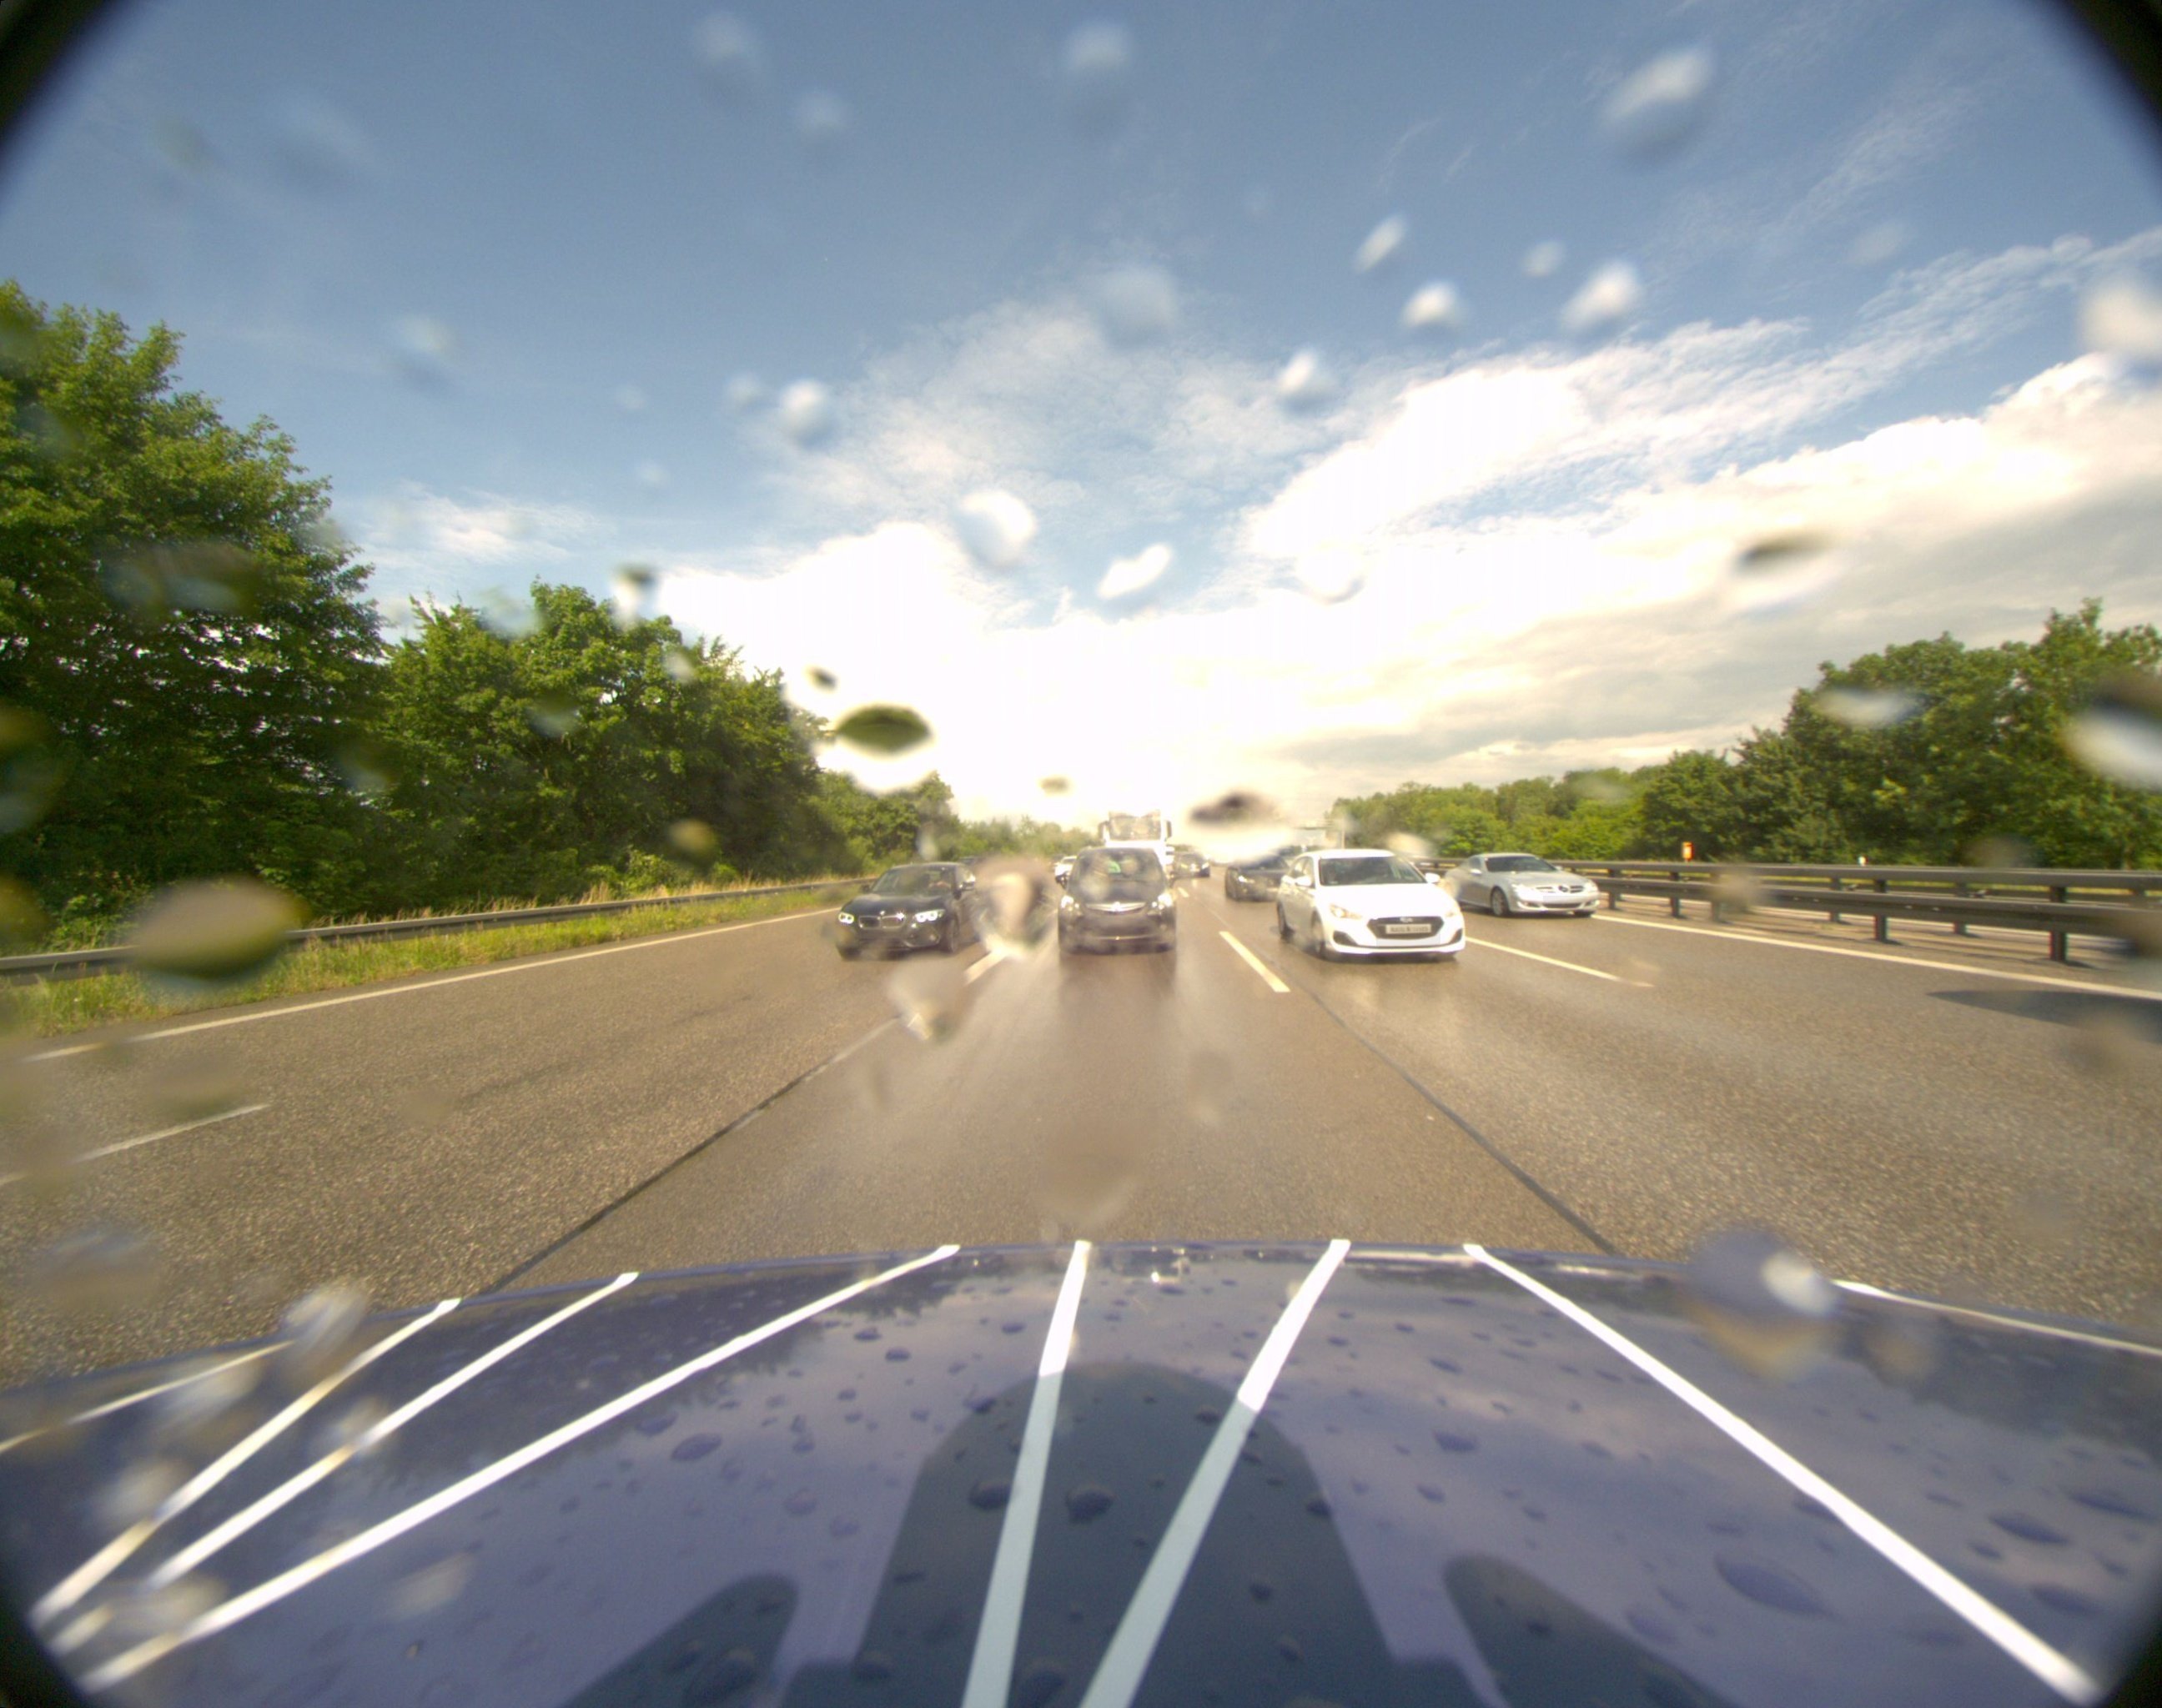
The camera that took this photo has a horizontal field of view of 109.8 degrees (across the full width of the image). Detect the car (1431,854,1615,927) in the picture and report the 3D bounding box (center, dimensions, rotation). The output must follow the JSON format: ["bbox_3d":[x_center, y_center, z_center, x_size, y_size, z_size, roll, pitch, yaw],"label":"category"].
[{"bbox_3d":[9.100,0.683,16.070,1.728,1.270,4.064,-2,0,4],"label":"car"}]

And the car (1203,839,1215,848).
[{"bbox_3d":[26.159,-2.170,155.363,1.998,1.768,4.462,-2,0,4],"label":"car"}]

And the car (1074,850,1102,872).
[{"bbox_3d":[0.623,0.536,61.487,1.998,1.572,4.654,-2,0,4],"label":"car"}]

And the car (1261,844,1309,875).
[{"bbox_3d":[11.489,0.259,43.063,1.874,1.597,4.229,-2,1,5],"label":"car"}]

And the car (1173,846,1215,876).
[{"bbox_3d":[6.530,0.375,44.192,1.998,1.478,4.000,-3,1,4],"label":"car"}]

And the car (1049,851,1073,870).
[{"bbox_3d":[-1.801,0.533,70.147,1.824,1.611,4.364,-2,0,3],"label":"car"}]

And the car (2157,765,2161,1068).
[{"bbox_3d":[7.959,0.414,2.348,1.998,2.002,5.270,-1,0,4],"label":"car"}]

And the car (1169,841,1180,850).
[{"bbox_3d":[18.932,-1.811,153.668,1.998,1.687,4.000,-3,1,4],"label":"car"}]

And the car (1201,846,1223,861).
[{"bbox_3d":[14.747,-0.107,85.510,1.998,1.471,4.000,-3,1,4],"label":"car"}]

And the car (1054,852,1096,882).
[{"bbox_3d":[-0.259,0.687,42.177,1.830,1.417,4.512,-2,1,5],"label":"car"}]

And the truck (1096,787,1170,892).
[{"bbox_3d":[2.443,-0.624,34.245,2.816,4.083,7.447,-2,1,6],"label":"truck"}]

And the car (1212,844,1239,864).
[{"bbox_3d":[13.828,-0.045,73.134,1.998,1.739,4.000,-3,1,4],"label":"car"}]

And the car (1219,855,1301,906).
[{"bbox_3d":[5.337,0.727,23.126,1.728,1.330,4.288,-2,0,4],"label":"car"}]

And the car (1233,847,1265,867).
[{"bbox_3d":[12.664,0.183,57.479,1.771,1.371,4.000,-1,1,4],"label":"car"}]

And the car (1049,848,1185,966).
[{"bbox_3d":[0.656,0.740,12.980,1.883,1.638,4.397,-1,0,4],"label":"car"}]

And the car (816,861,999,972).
[{"bbox_3d":[-2.696,0.917,12.915,1.852,1.455,4.256,-1,1,4],"label":"car"}]

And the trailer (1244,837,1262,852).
[{"bbox_3d":[39.922,-2.282,176.487,2.736,3.362,9.564,-1,0,5],"label":"trailer"}]

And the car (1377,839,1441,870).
[{"bbox_3d":[19.189,0.005,44.670,1.998,1.697,4.154,-2,0,1],"label":"car"}]

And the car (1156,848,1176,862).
[{"bbox_3d":[9.736,0.107,87.234,1.998,1.471,4.000,-3,1,4],"label":"car"}]

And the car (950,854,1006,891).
[{"bbox_3d":[-4.792,0.832,35.973,1.852,1.559,4.000,-1,1,4],"label":"car"}]

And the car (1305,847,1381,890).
[{"bbox_3d":[9.974,0.505,29.248,1.770,1.417,4.139,-2,1,5],"label":"car"}]

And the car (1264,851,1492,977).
[{"bbox_3d":[4.099,0.721,11.382,1.885,1.446,4.549,-2,0,4],"label":"car"}]
